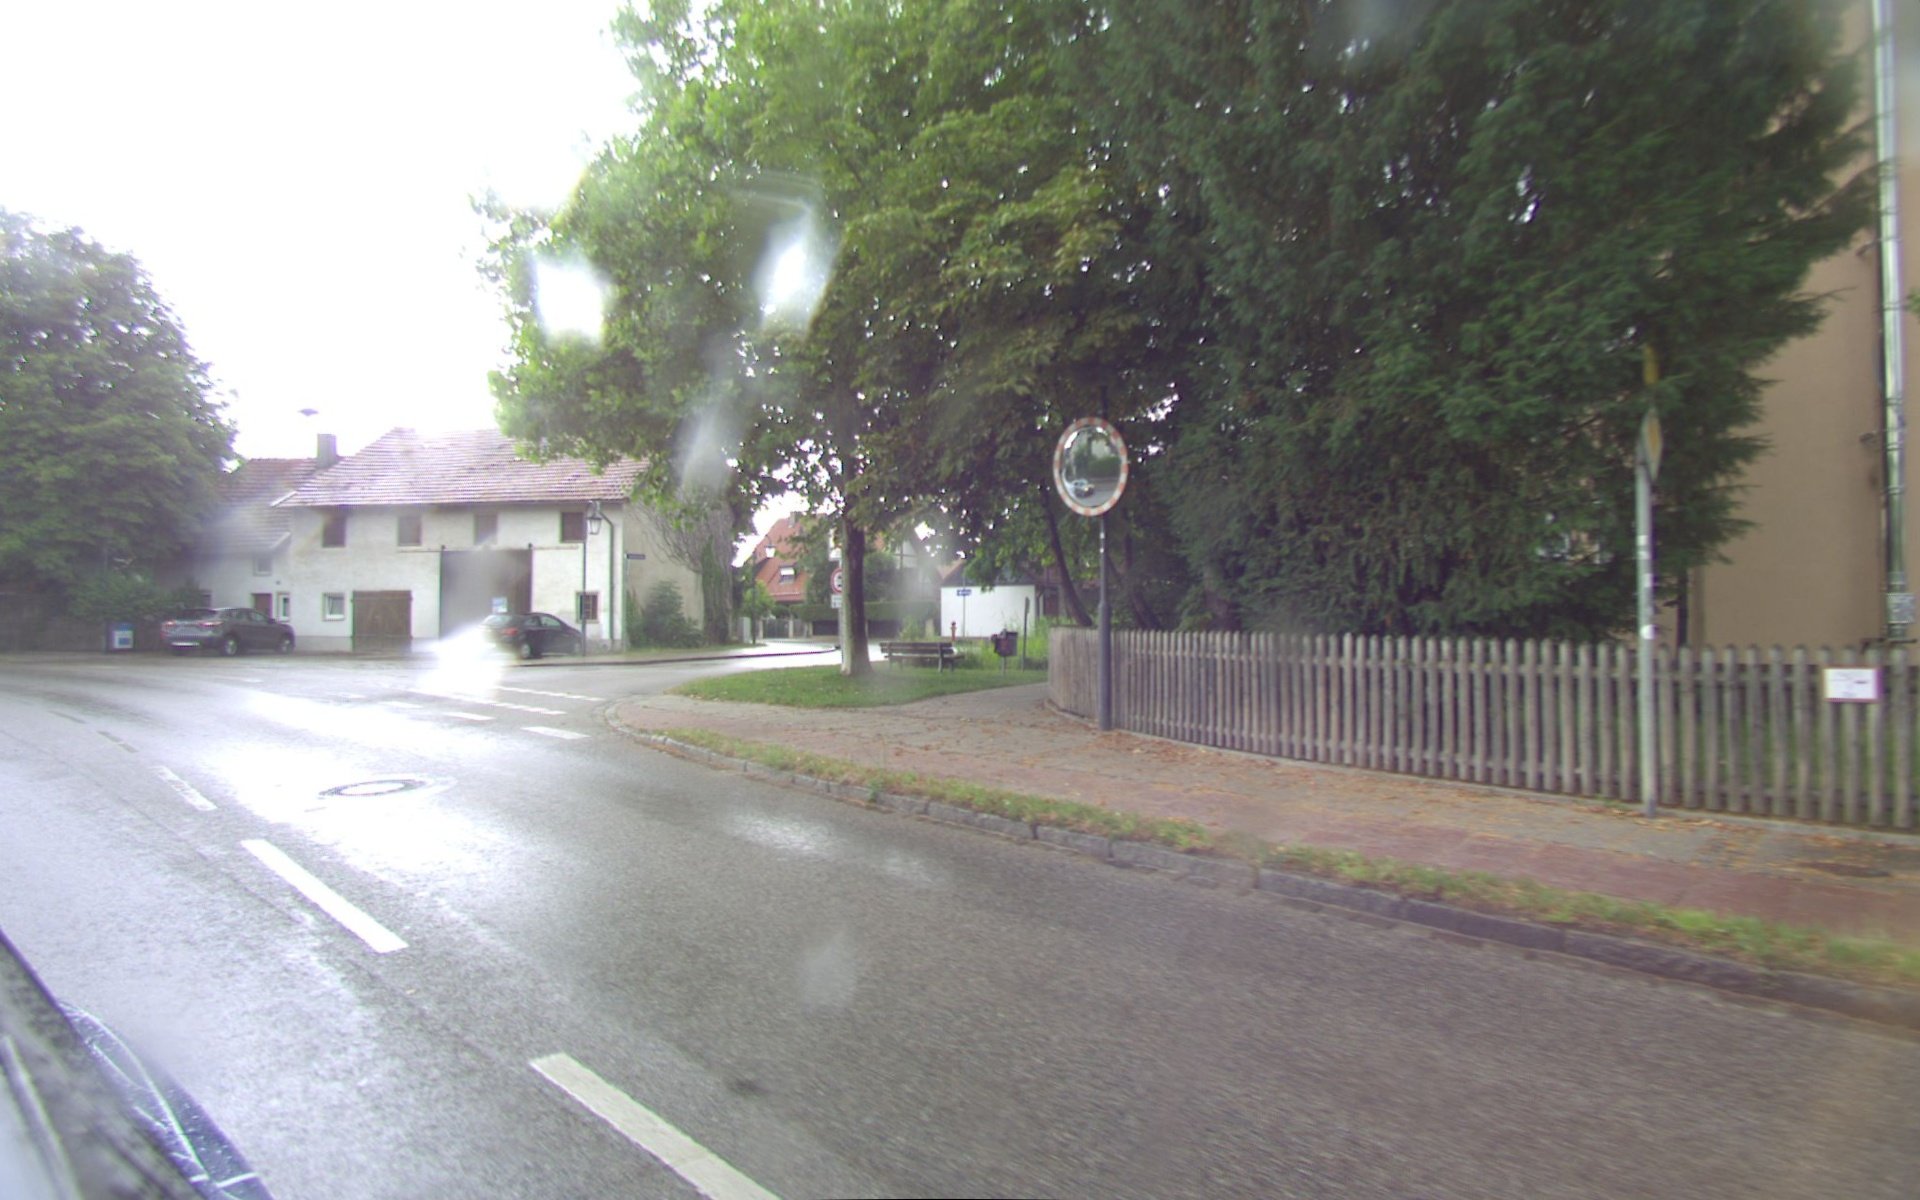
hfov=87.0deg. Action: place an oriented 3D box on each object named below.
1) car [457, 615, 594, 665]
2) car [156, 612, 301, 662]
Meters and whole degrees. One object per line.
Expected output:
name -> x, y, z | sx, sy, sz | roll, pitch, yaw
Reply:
car -> -13.542, 1.195, 31.842 | 1.802, 1.447, 4.264 | 0, -1, 13
car -> -24.079, 1.248, 33.537 | 1.791, 1.560, 4.282 | 0, -3, -2
